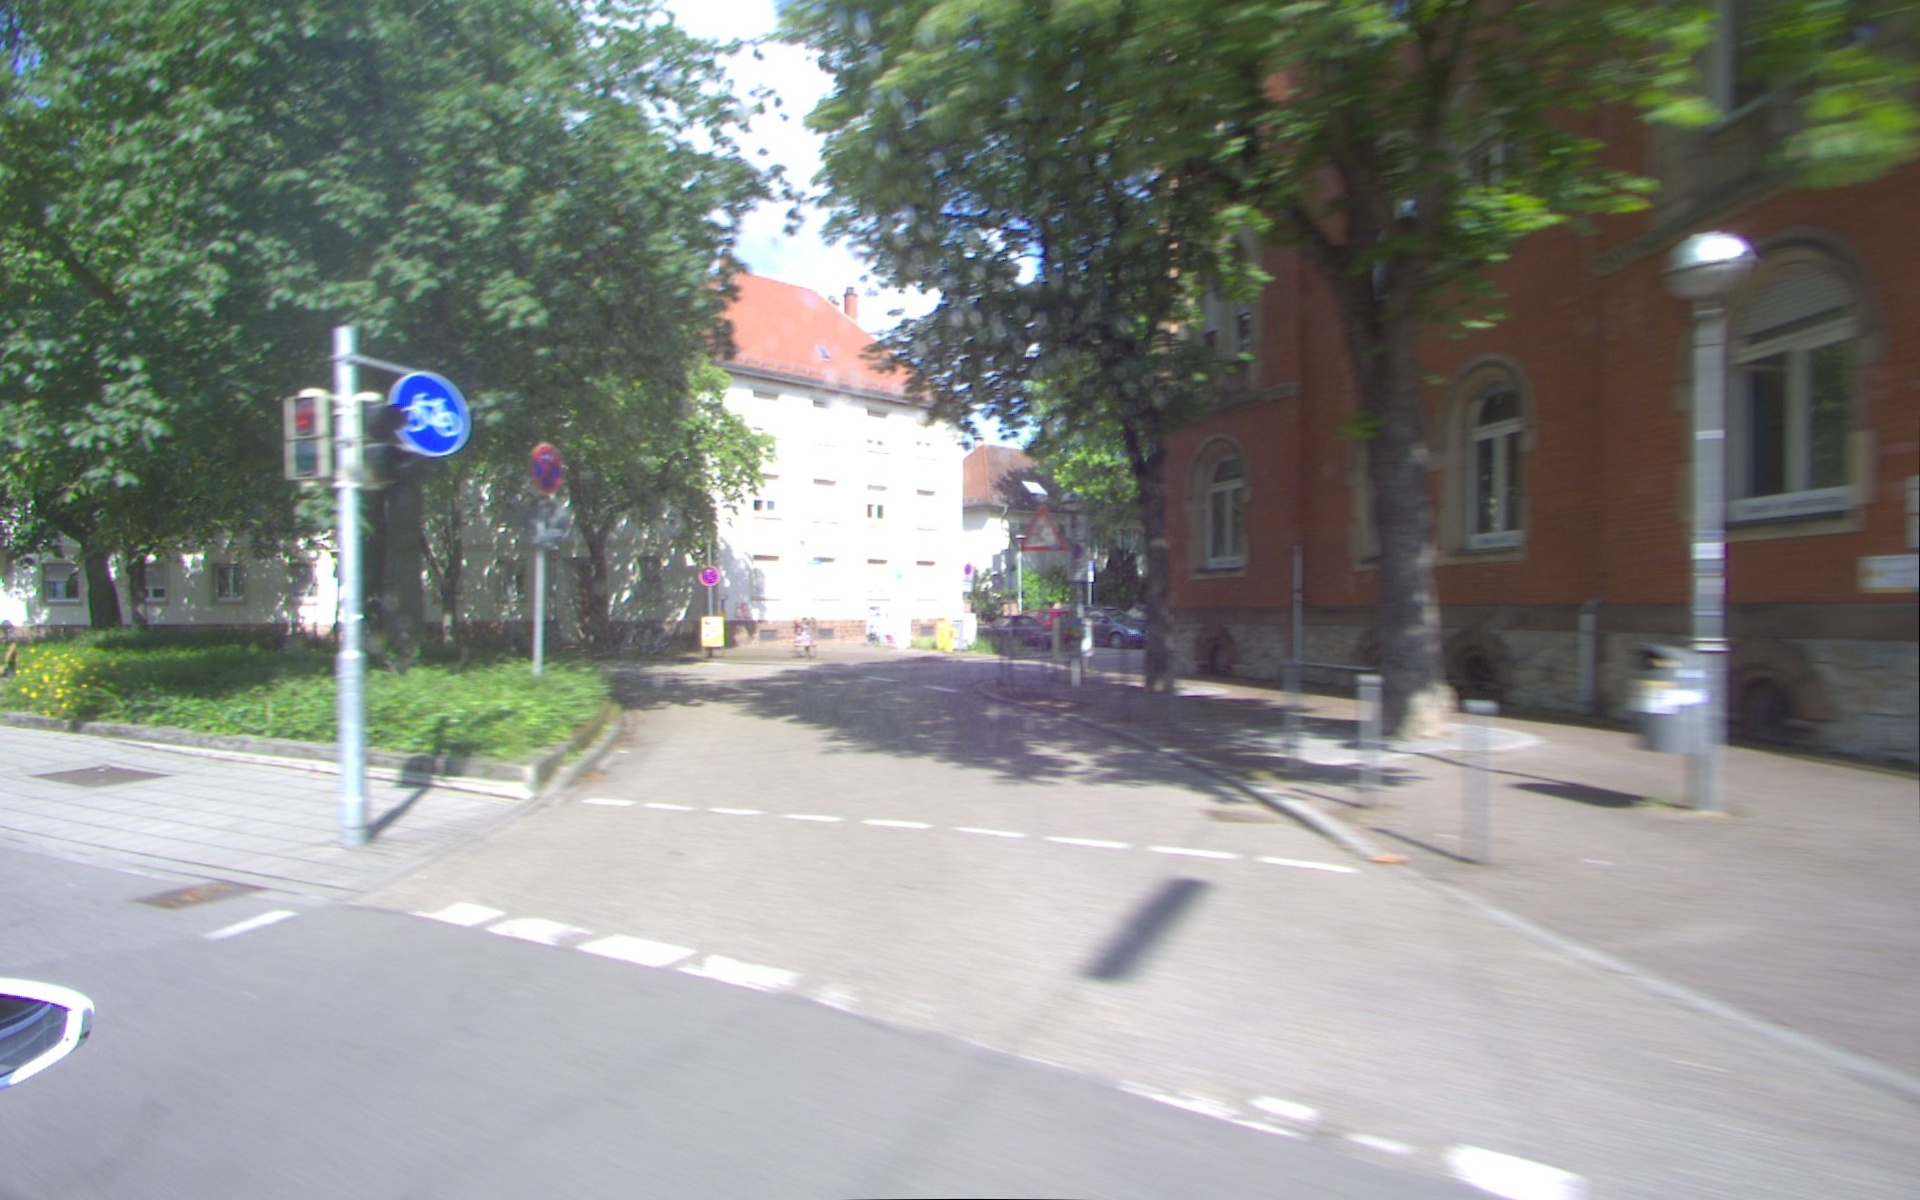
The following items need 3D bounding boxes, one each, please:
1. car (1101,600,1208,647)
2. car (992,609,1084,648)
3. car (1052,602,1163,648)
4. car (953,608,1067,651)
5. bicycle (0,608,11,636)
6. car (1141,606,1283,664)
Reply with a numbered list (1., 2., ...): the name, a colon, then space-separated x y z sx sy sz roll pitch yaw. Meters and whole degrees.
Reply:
1. car: 7.945 0.941 41.151 1.958 1.817 3.962 0 0 -43
2. car: 2.974 1.061 38.563 3.379 1.441 1.548 -1 0 45
3. car: 5.782 0.962 39.623 1.834 1.706 4.085 0 -1 -45
4. car: 1.775 1.023 36.254 1.786 1.461 3.959 0 0 -45
5. bicycle: -36.304 0.824 36.986 1.721 1.034 0.566 0 2 -11
6. car: 7.133 0.930 28.176 3.954 1.505 1.921 0 0 -39
